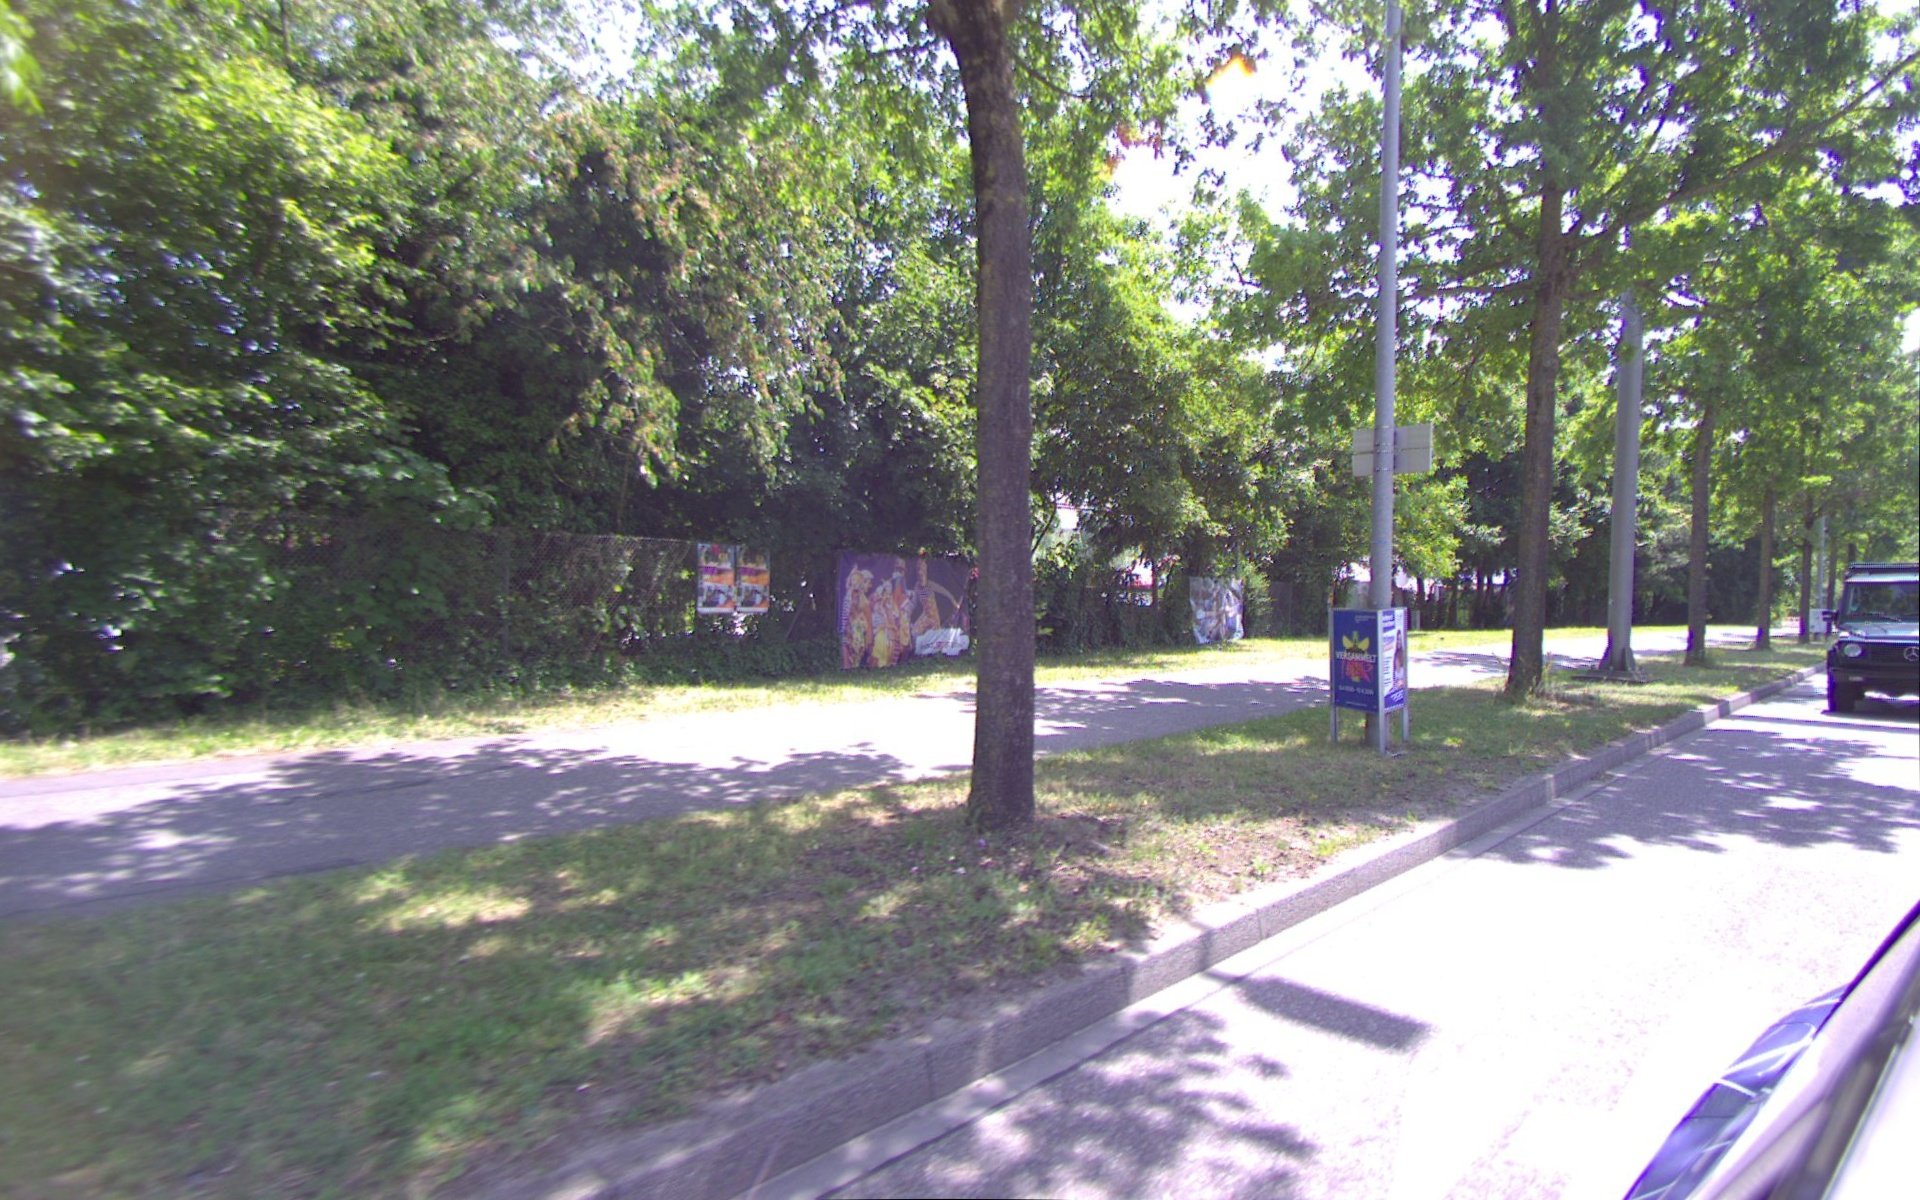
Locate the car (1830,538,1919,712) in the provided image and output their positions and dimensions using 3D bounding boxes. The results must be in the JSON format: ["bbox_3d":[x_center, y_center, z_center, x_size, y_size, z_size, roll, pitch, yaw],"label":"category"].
[{"bbox_3d":[13.680,0.330,14.252,1.838,2.180,4.484,2,1,45],"label":"car"}]
